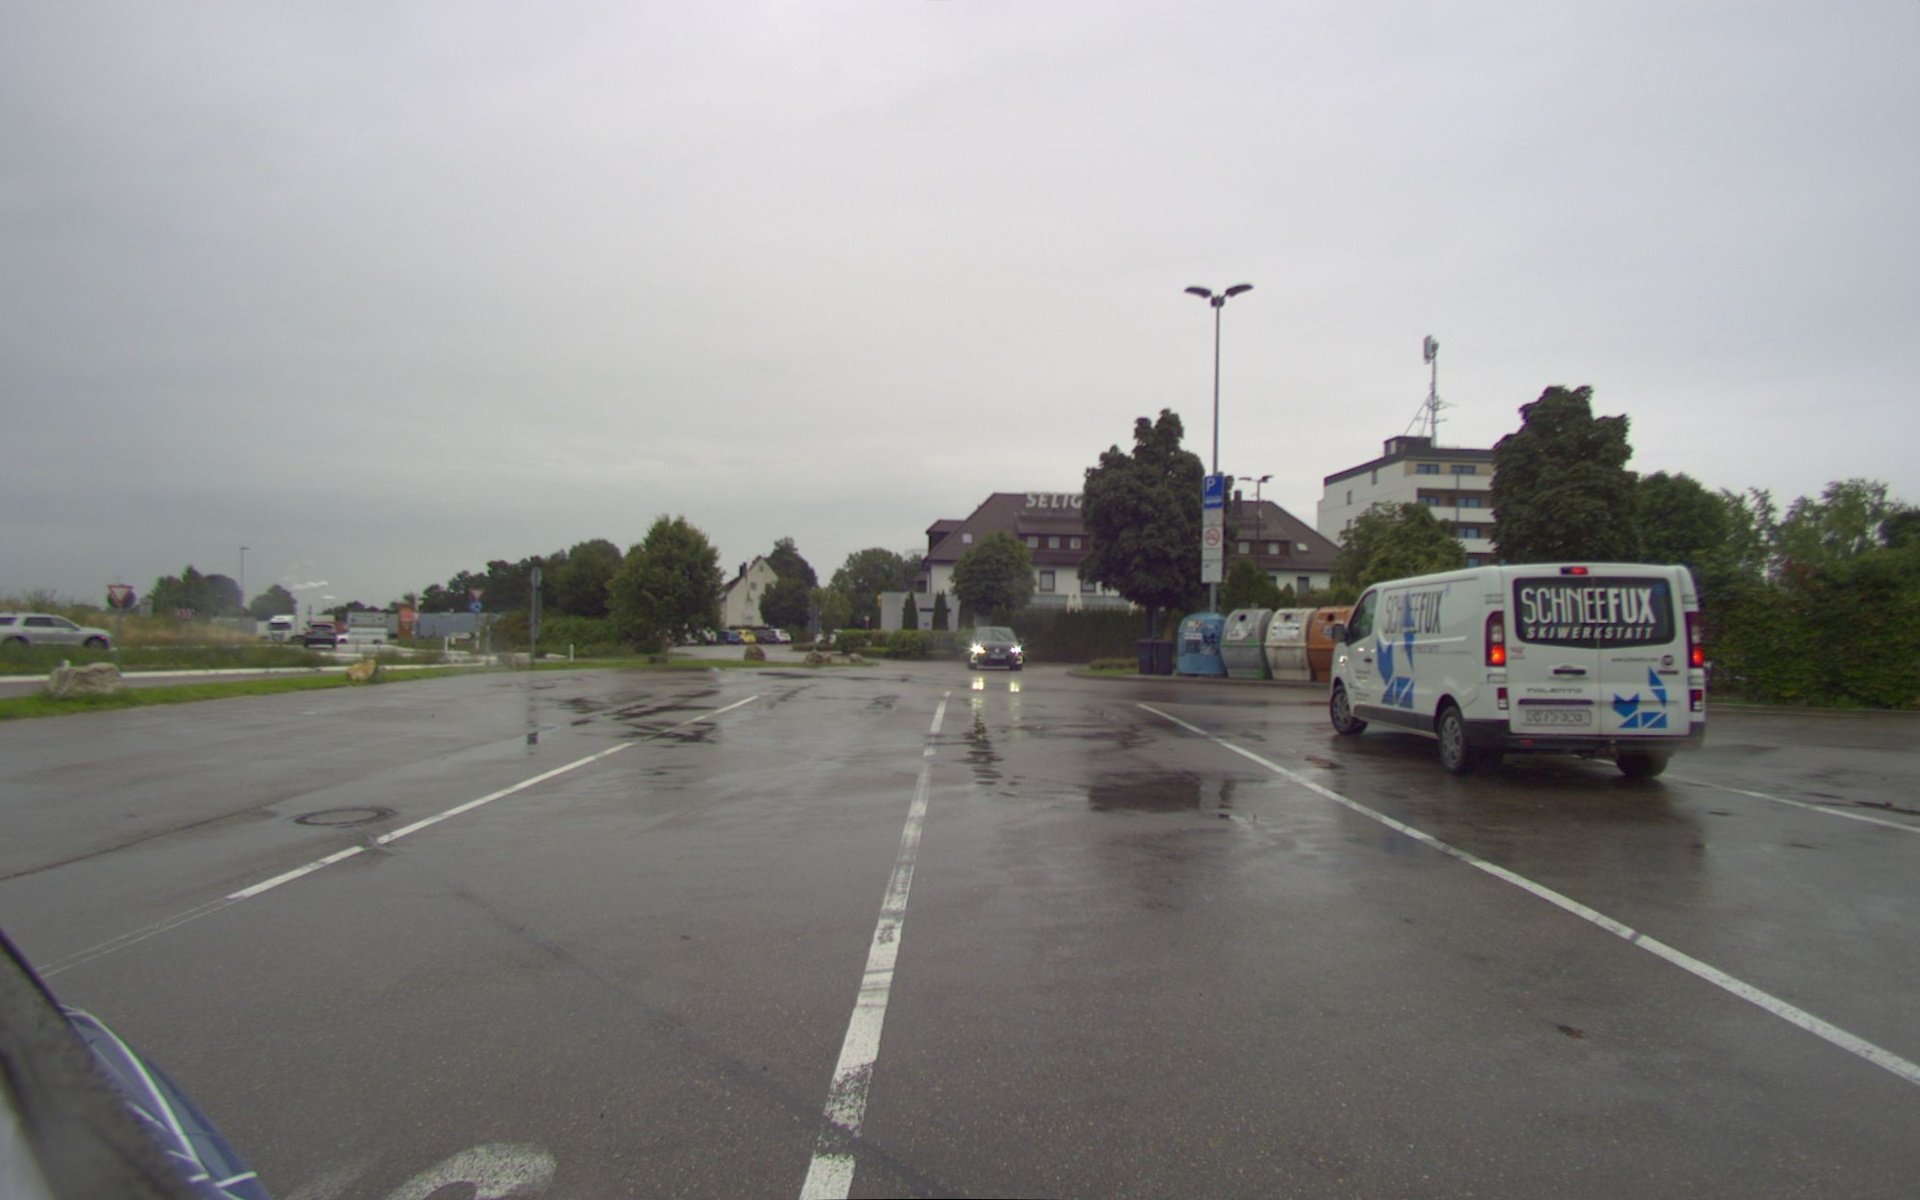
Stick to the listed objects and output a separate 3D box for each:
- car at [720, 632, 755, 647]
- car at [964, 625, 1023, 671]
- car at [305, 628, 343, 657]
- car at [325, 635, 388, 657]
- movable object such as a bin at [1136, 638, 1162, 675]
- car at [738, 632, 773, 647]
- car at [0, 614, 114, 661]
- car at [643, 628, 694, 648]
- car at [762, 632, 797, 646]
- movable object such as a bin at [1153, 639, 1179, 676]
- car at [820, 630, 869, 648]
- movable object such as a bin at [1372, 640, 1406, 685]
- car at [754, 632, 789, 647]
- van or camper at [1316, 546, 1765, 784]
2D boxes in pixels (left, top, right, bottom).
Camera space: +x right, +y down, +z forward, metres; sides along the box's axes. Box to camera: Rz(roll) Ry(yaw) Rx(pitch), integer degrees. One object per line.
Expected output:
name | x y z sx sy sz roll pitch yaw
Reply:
car | -22.108 3.953 100.616 3.677 1.469 1.535 -2 -2 40
car | 1.085 1.586 34.246 1.754 1.444 4.079 0 -2 -1
car | -40.979 2.725 65.274 1.685 1.830 3.727 0 -2 -27
car | -50.827 3.856 85.268 1.740 1.772 4.326 -2 -3 27
movable object such as a bin | 4.959 1.483 26.555 0.442 0.946 0.490 1 -2 -23
car | -20.660 3.985 102.039 3.677 1.469 1.564 -2 -2 40
car | -38.796 1.567 42.493 1.988 1.887 4.606 -1 -2 25
car | -23.245 3.051 80.846 3.688 1.563 1.452 0 -2 -4
car | -18.825 4.051 105.559 3.677 1.469 1.564 -2 -2 40
movable object such as a bin | 5.310 1.483 26.122 0.442 0.924 0.490 1 -2 -23
car | -9.918 3.381 87.207 4.126 1.509 1.719 0 -2 -4
movable object such as a bin | 9.091 1.319 21.444 0.487 0.927 0.417 0 -2 -12
car | -19.304 4.014 103.491 3.677 1.469 1.564 -2 -2 40
van or camper | 5.732 0.620 11.042 2.167 1.960 5.190 -1 -2 4
